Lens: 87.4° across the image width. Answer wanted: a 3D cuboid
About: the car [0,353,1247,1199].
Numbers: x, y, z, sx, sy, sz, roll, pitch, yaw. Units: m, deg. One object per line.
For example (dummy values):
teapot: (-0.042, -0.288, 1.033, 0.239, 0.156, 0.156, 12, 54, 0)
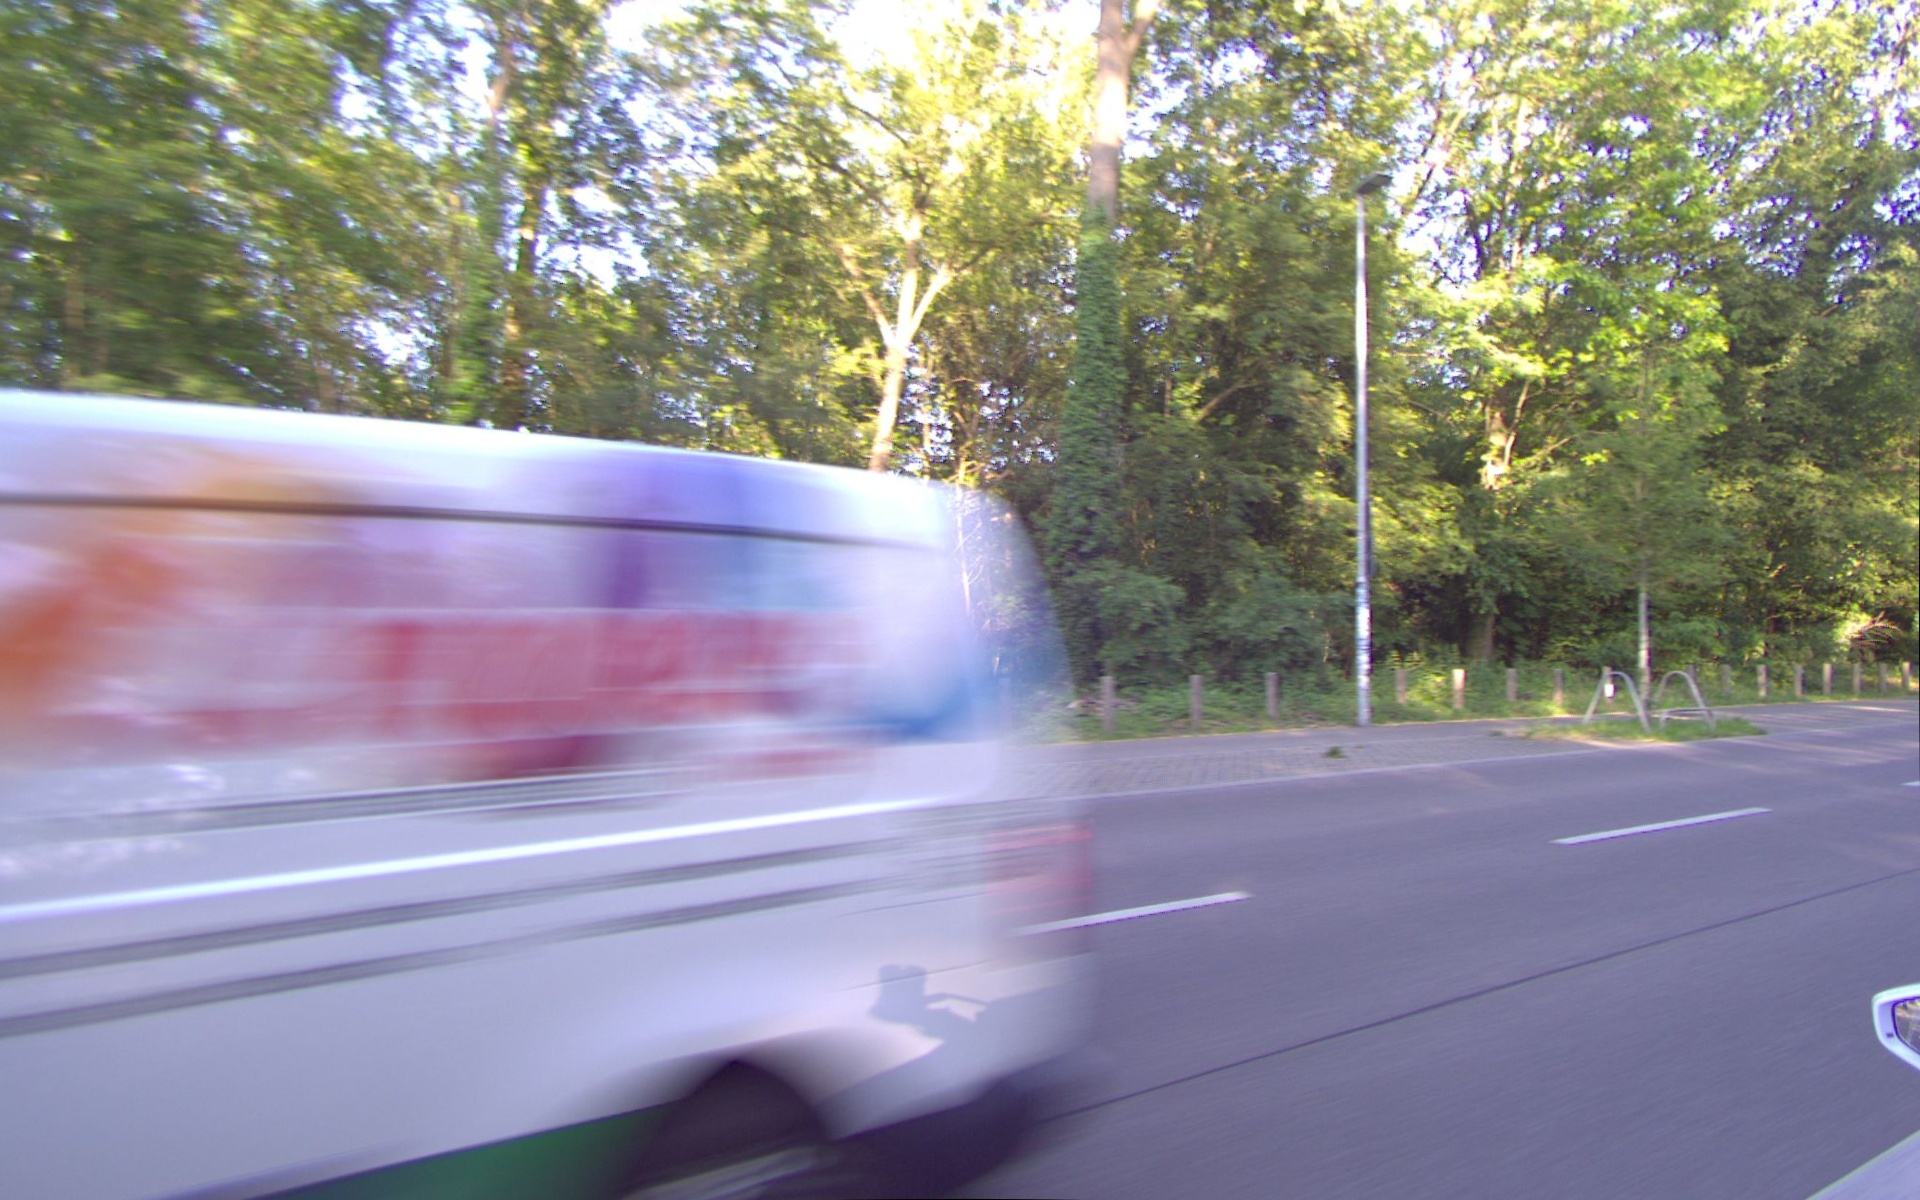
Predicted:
car: (-1.870, 0.609, 1.877, 4.743, 1.779, 1.897, 1, -2, -30)
